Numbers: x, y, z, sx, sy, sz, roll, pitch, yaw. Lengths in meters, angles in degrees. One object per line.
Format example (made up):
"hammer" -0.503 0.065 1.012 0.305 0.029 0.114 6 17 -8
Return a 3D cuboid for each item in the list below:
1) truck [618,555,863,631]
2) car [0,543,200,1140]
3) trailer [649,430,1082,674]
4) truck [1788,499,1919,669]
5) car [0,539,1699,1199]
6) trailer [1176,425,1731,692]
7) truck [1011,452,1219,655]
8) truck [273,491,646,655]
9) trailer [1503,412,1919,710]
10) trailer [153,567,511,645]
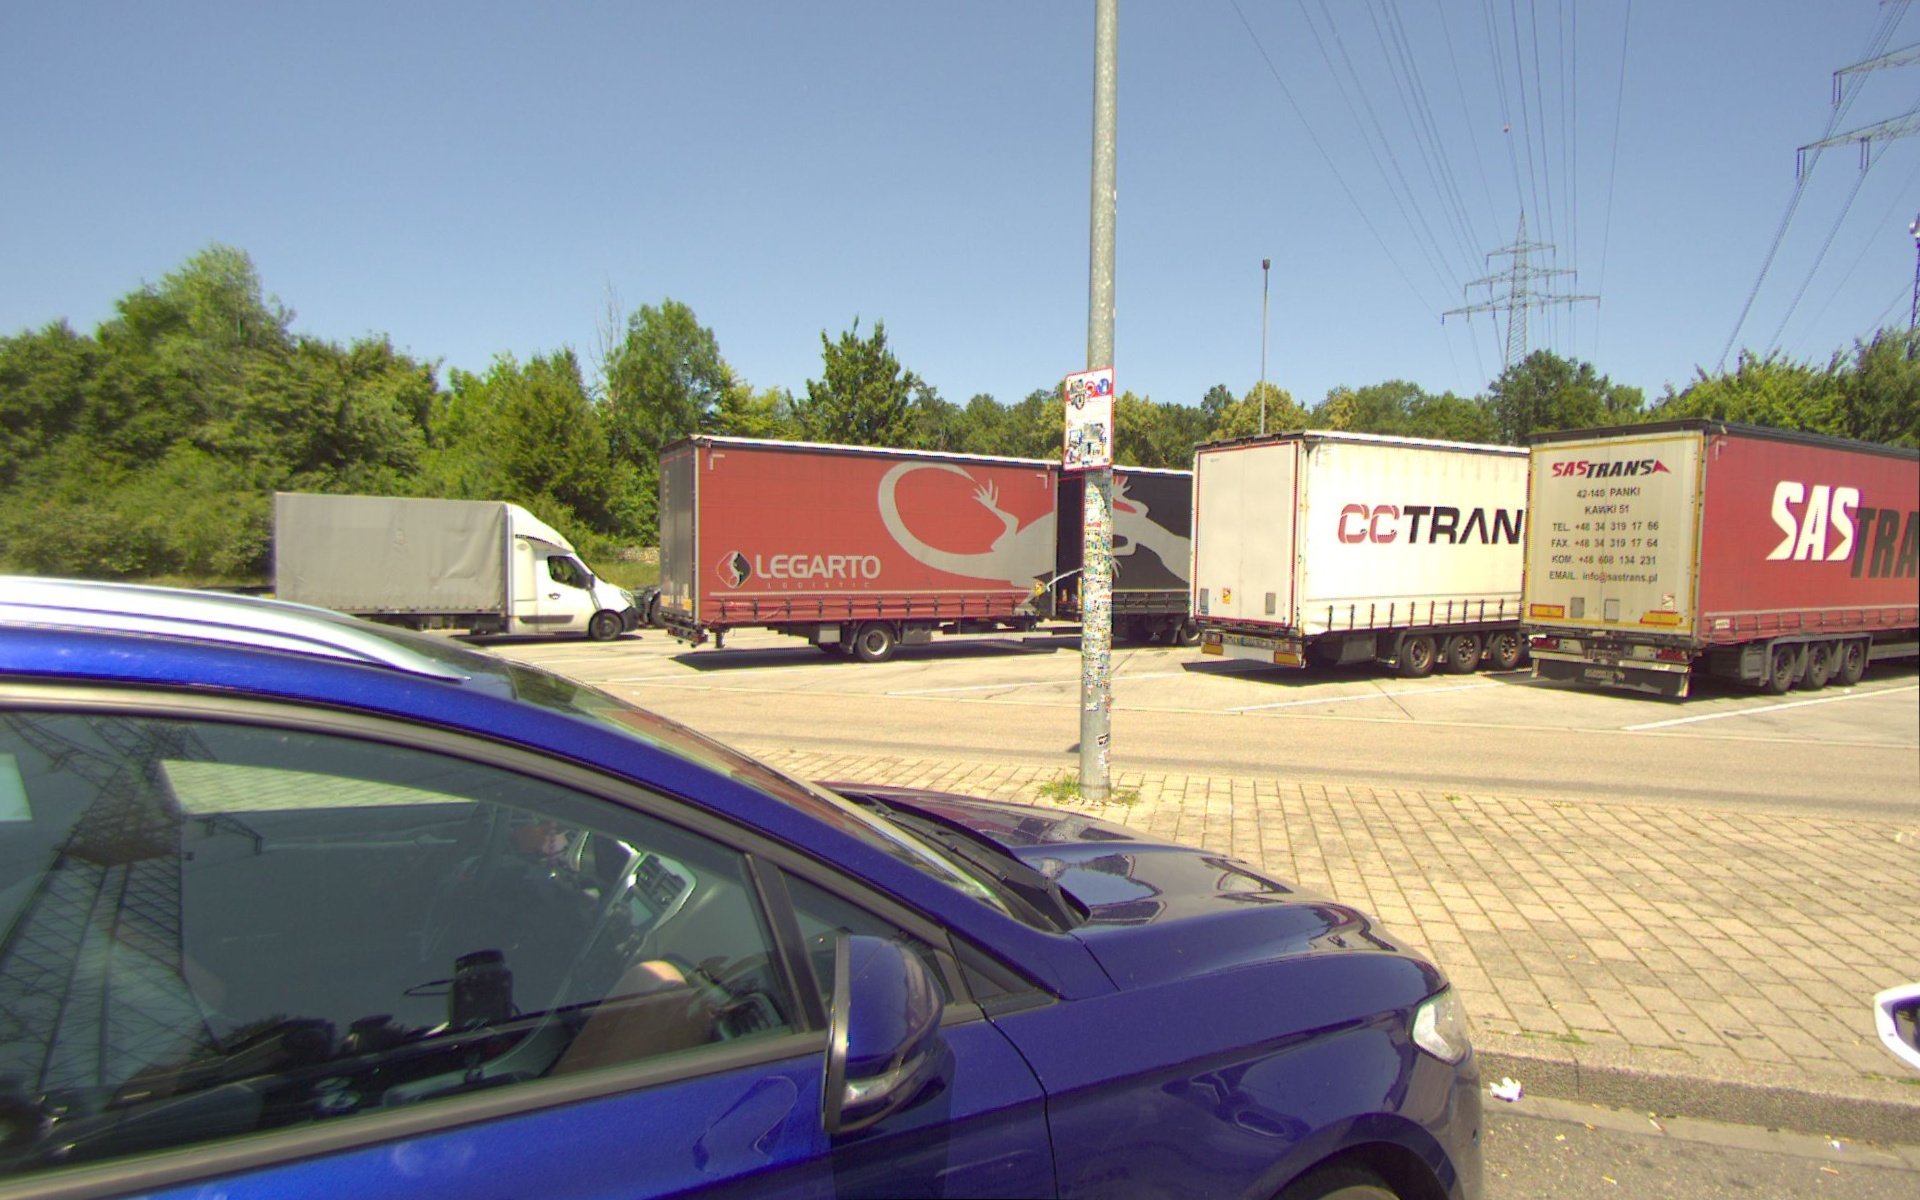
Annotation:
"truck" -6.325 -0.231 29.275 6.733 2.041 1.987 -1 1 -26
"car" -4.588 0.603 2.227 4.444 1.520 1.762 0 2 -32
"trailer" -1.720 -0.901 20.330 8.376 4.141 2.722 -1 3 -30
"truck" 21.232 -0.396 22.005 5.829 3.373 2.837 -1 3 -30
"car" -1.012 0.680 1.495 4.444 1.511 1.859 0 2 -32
"trailer" 10.610 -0.802 20.338 13.962 4.141 2.782 -1 3 -30
"truck" 3.592 -1.068 23.451 3.947 4.298 2.723 -1 3 -30
"truck" -11.167 -0.625 23.025 7.204 3.279 2.727 -1 3 -29
"trailer" 15.630 -0.694 18.727 13.962 4.141 2.777 -1 3 -30
"trailer" -15.142 0.056 24.894 7.204 1.711 2.249 -1 3 -29
